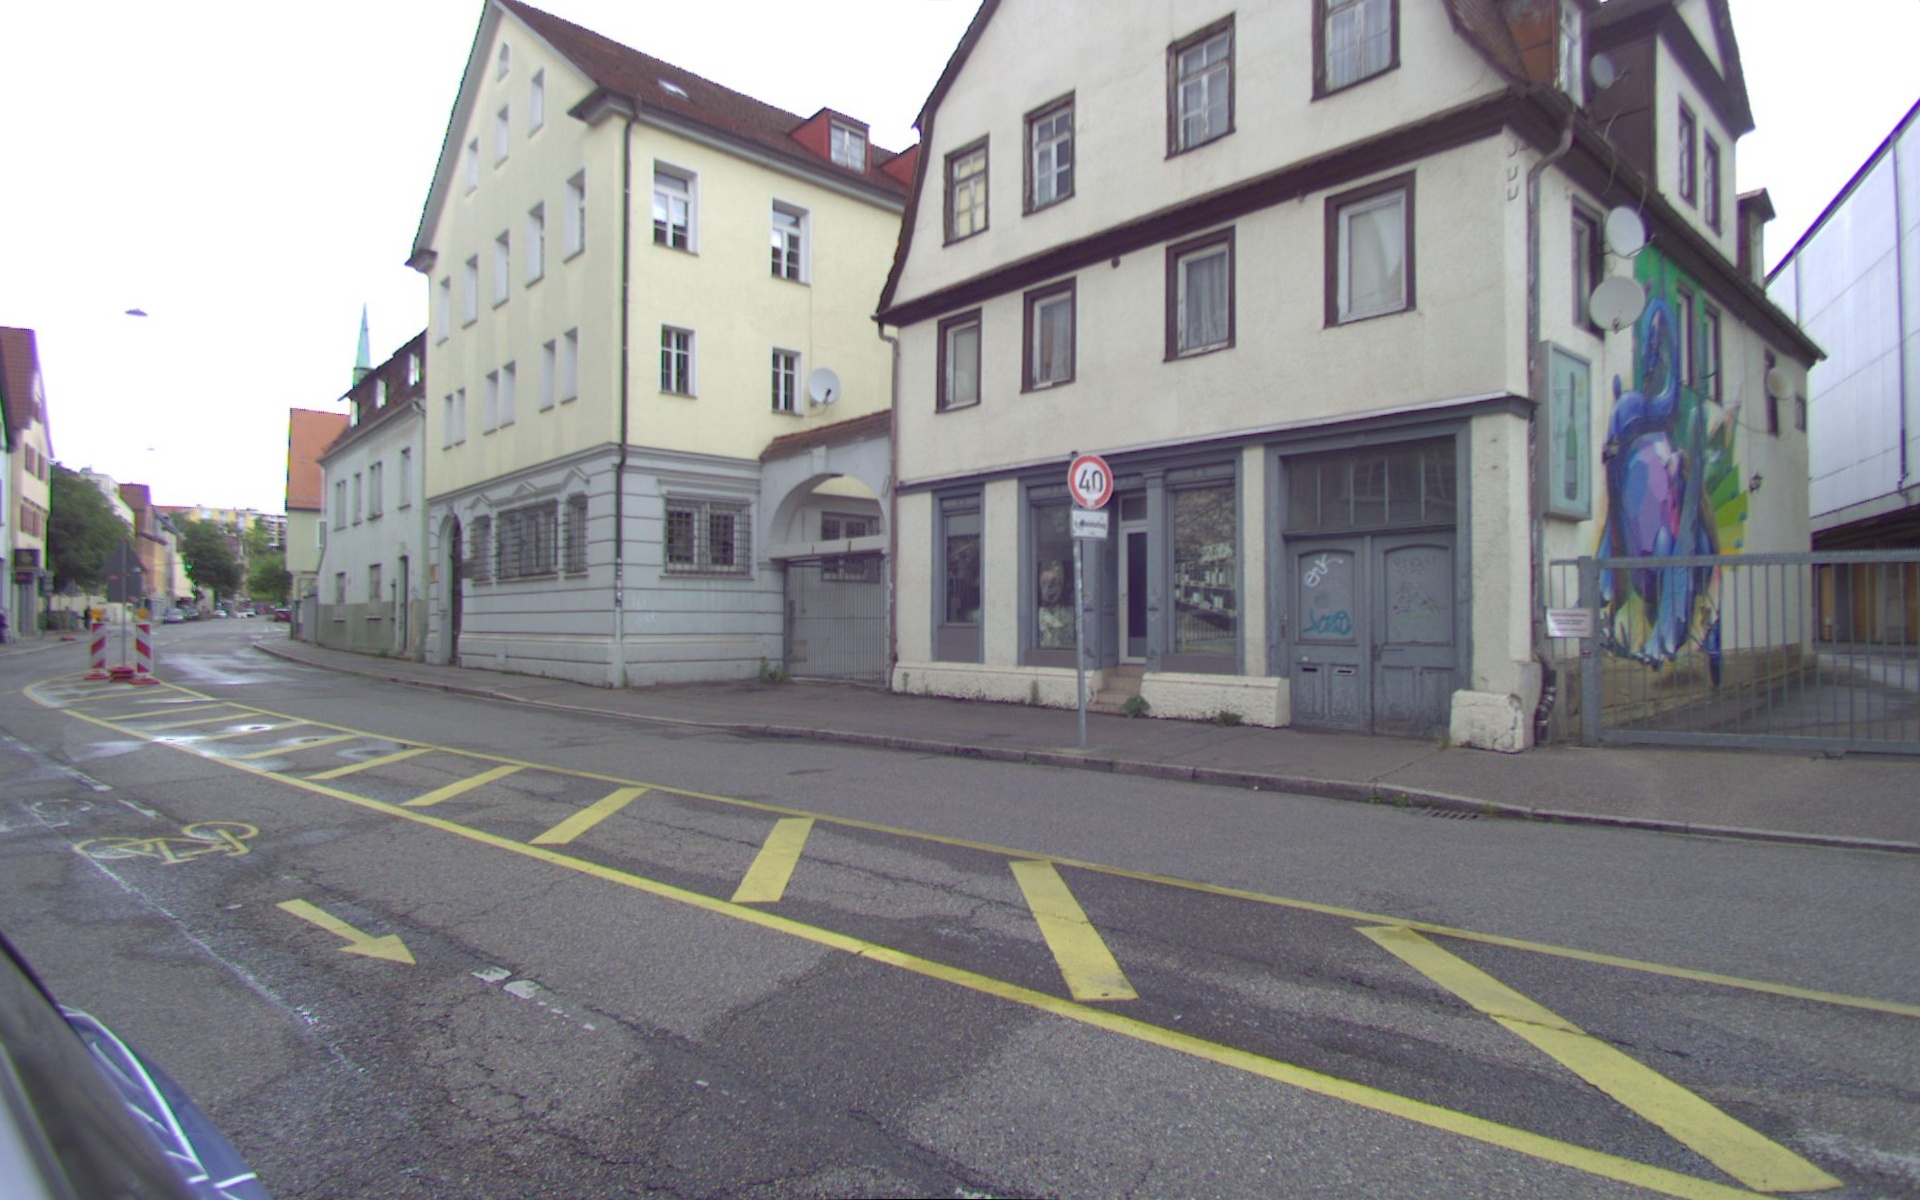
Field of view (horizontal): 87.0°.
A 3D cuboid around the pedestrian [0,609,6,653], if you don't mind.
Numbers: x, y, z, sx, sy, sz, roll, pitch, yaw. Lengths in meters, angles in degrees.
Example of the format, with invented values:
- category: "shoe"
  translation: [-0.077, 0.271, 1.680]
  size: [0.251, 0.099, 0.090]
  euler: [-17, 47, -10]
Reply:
- category: "pedestrian"
  translation: [-35.783, 1.140, 37.341]
  size: [0.714, 1.626, 0.650]
  euler: [0, -2, -32]

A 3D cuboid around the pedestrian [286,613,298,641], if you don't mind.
- category: "pedestrian"
  translation: [-43.618, 1.777, 66.076]
  size: [0.583, 1.793, 0.506]
  euler: [1, -2, -34]

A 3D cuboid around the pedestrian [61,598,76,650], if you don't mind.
- category: "pedestrian"
  translation: [-43.780, 1.165, 49.684]
  size: [0.487, 2.547, 0.747]
  euler: [1, -2, -38]
